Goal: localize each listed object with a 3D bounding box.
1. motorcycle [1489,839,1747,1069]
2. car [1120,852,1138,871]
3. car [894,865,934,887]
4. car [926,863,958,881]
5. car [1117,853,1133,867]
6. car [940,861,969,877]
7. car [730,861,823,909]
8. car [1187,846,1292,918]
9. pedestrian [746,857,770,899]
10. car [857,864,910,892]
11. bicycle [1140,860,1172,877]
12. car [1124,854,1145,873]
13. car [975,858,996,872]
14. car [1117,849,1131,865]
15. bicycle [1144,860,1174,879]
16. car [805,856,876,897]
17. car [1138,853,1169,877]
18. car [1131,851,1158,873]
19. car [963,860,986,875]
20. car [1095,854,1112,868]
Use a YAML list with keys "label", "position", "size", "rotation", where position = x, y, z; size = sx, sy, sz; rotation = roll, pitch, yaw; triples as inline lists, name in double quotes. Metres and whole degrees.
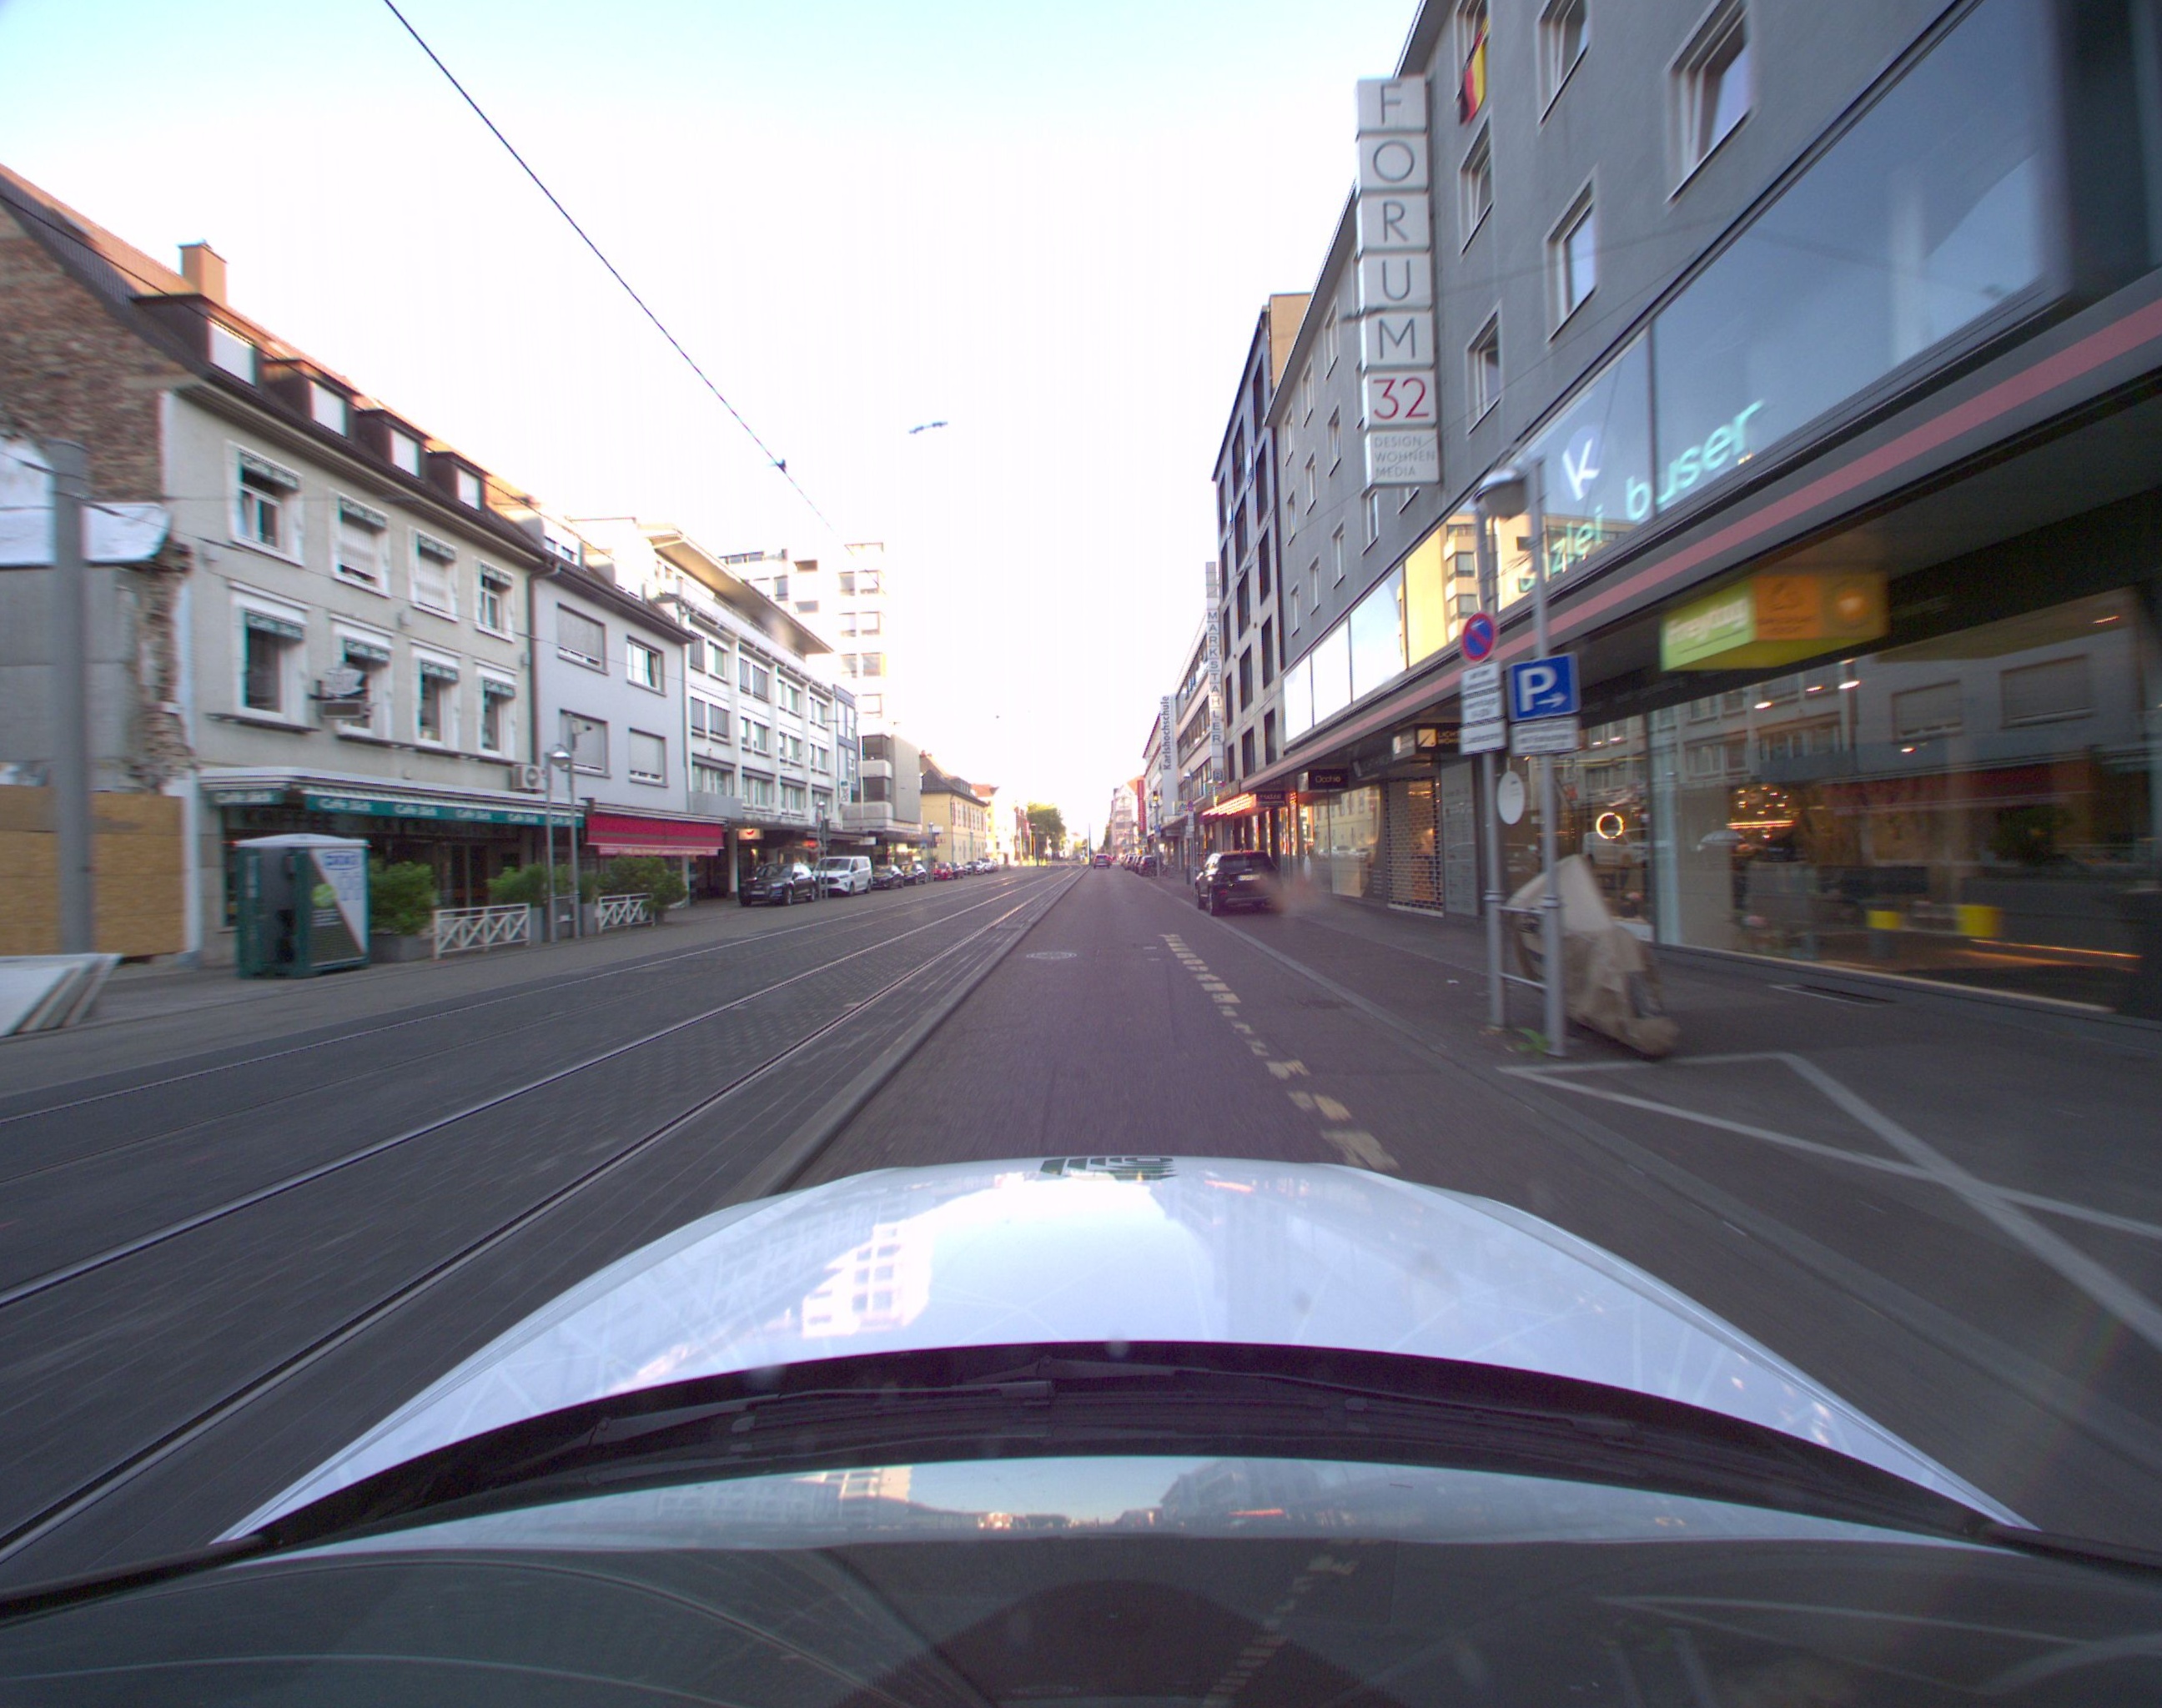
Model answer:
- label: "motorcycle"
  position: [3.870, 0.628, 6.122]
  size: [0.808, 1.417, 2.010]
  rotation: [-3, 0, 10]
- label: "car"
  position: [5.604, 0.865, 95.784]
  size: [1.936, 1.965, 4.547]
  rotation: [-4, 0, 2]
- label: "car"
  position: [-11.087, 1.426, 54.295]
  size: [1.784, 1.339, 3.892]
  rotation: [0, 0, 1]
- label: "car"
  position: [-11.001, 1.434, 64.554]
  size: [1.784, 1.339, 3.892]
  rotation: [0, 0, 1]
- label: "car"
  position: [5.754, 0.820, 107.486]
  size: [1.936, 1.703, 4.547]
  rotation: [-4, 0, 2]
- label: "car"
  position: [-10.878, 1.261, 70.167]
  size: [1.784, 1.339, 3.892]
  rotation: [0, 0, 1]
- label: "car"
  position: [-12.127, 1.165, 32.772]
  size: [1.910, 1.763, 4.431]
  rotation: [0, 0, 2]
- label: "car"
  position: [4.008, 0.663, 21.319]
  size: [1.936, 1.545, 4.547]
  rotation: [-4, 0, 2]
- label: "pedestrian"
  position: [-14.311, 1.064, 36.106]
  size: [0.646, 1.820, 0.837]
  rotation: [1, 0, 1]
- label: "car"
  position: [-11.549, 1.377, 48.004]
  size: [1.911, 1.521, 4.630]
  rotation: [0, 0, 1]
- label: "bicycle"
  position: [5.097, 0.998, 55.611]
  size: [2.113, 1.090, 0.591]
  rotation: [-2, 0, -2]
- label: "car"
  position: [5.285, 0.916, 80.836]
  size: [1.936, 1.703, 4.547]
  rotation: [-4, 0, 2]
- label: "car"
  position: [-10.427, 1.179, 89.198]
  size: [1.784, 1.449, 3.892]
  rotation: [0, 0, 1]
- label: "car"
  position: [6.254, 0.422, 119.335]
  size: [1.936, 2.145, 4.547]
  rotation: [-4, 0, 2]
- label: "bicycle"
  position: [4.949, 0.983, 51.860]
  size: [1.862, 1.090, 0.545]
  rotation: [-2, 0, 0]
- label: "car"
  position: [-11.855, 1.069, 40.515]
  size: [1.910, 1.936, 4.843]
  rotation: [0, 0, 2]
- label: "car"
  position: [5.204, 0.782, 59.206]
  size: [1.936, 1.545, 4.547]
  rotation: [-4, 0, 2]
- label: "car"
  position: [5.069, 0.635, 65.341]
  size: [1.936, 1.545, 4.547]
  rotation: [-4, 0, 2]
- label: "car"
  position: [-10.822, 1.341, 83.174]
  size: [1.784, 1.449, 3.892]
  rotation: [0, 0, 1]
- label: "car"
  position: [2.671, 0.771, 95.634]
  size: [1.936, 1.545, 4.547]
  rotation: [-1, 0, 2]
